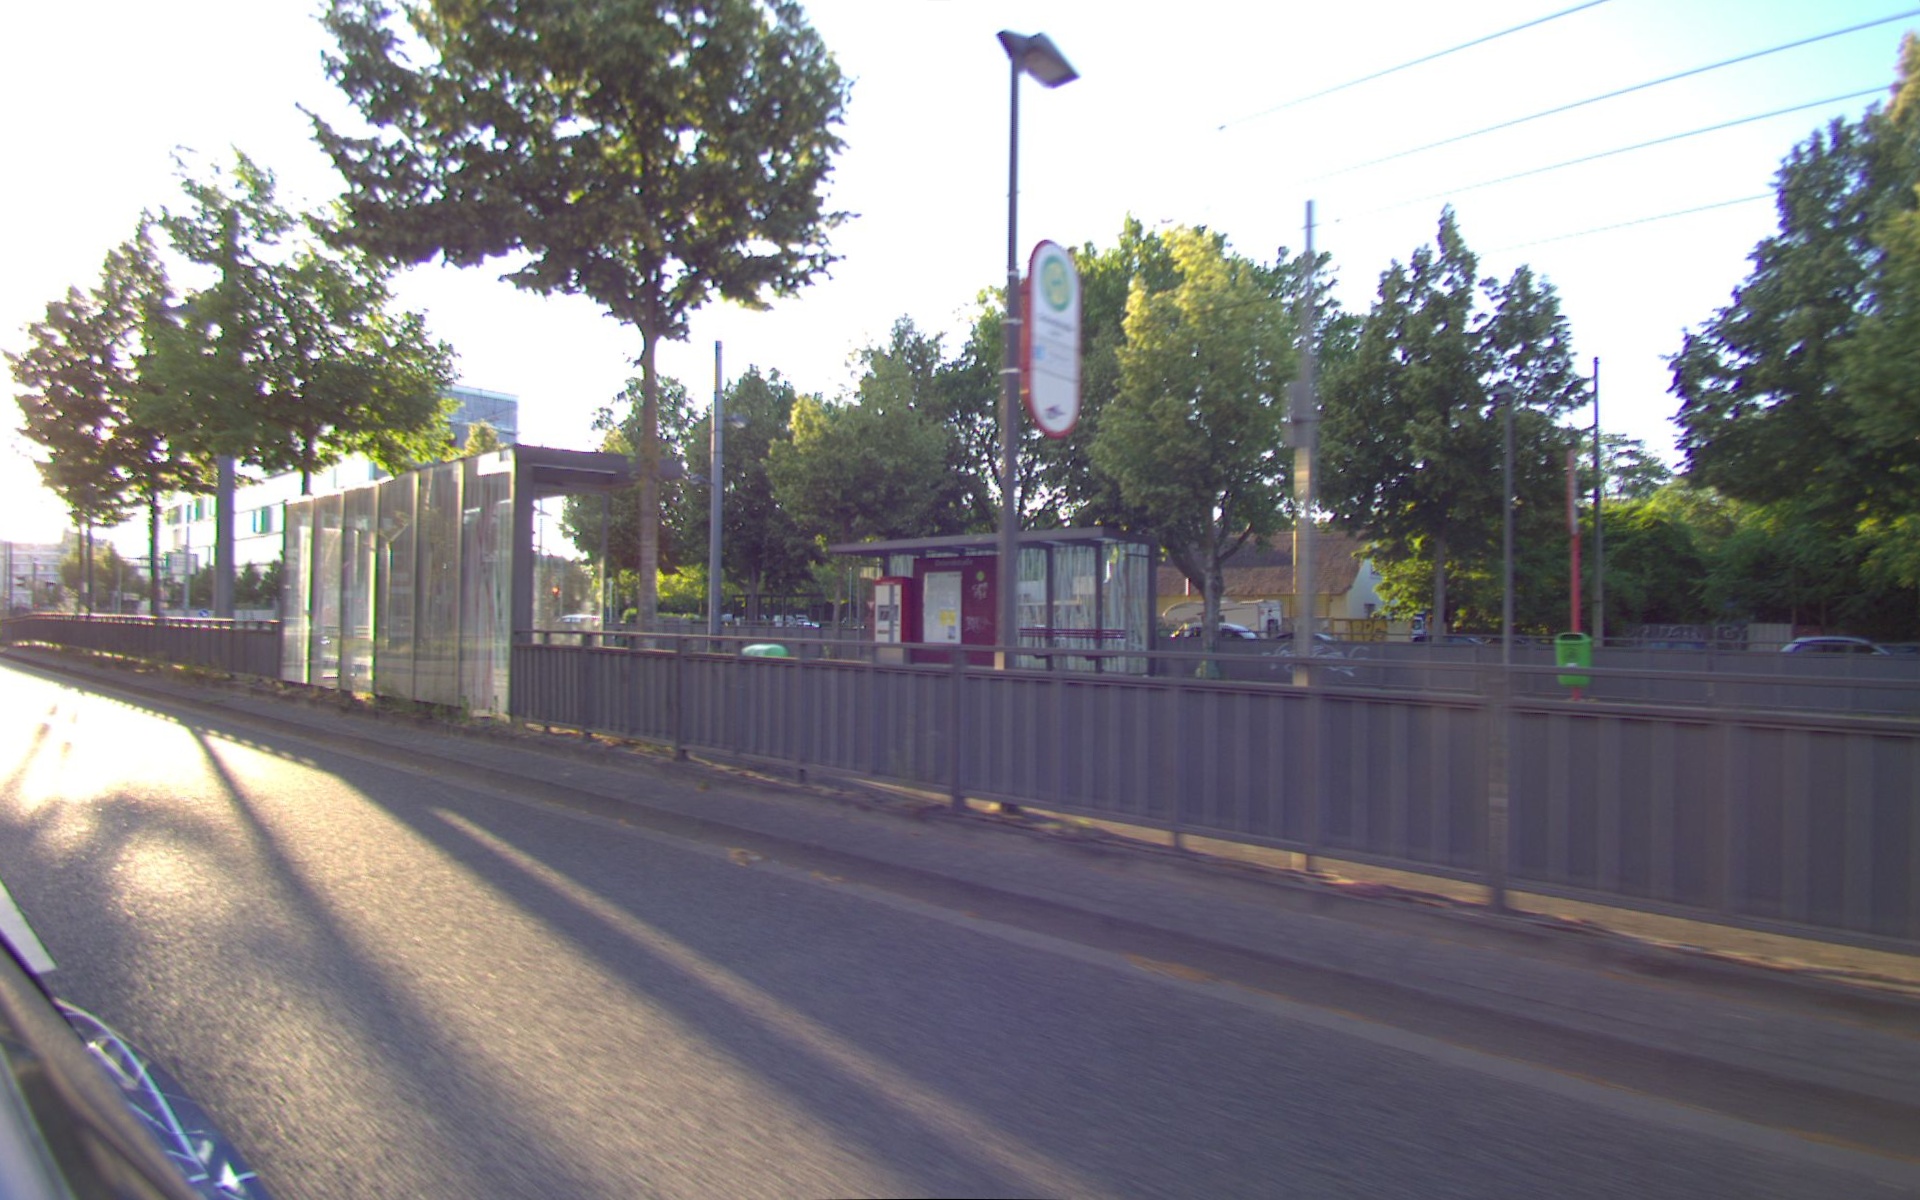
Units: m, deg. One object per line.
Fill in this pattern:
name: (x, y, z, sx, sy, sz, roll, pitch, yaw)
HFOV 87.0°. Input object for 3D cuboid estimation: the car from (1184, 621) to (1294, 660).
car: (11.619, 1.663, 42.280, 1.970, 1.541, 4.003, 2, -2, -44)

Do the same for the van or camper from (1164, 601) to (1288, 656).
van or camper: (13.177, 1.396, 50.399, 2.363, 2.583, 5.639, 2, -2, -43)

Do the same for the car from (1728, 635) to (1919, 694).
car: (23.338, 1.682, 27.269, 4.001, 1.418, 1.971, -1, -2, 44)

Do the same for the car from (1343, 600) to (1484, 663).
car: (15.516, 1.065, 34.714, 4.001, 2.029, 1.971, -1, -2, 44)

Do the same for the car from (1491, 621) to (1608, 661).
car: (23.298, 1.586, 40.051, 1.802, 1.512, 3.647, 1, -2, -43)

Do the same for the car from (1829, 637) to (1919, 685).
car: (30.412, 1.960, 32.568, 3.658, 1.459, 1.701, -1, -2, 42)

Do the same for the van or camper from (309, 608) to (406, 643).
van or camper: (-37.216, 1.529, 62.629, 2.000, 2.029, 4.820, -1, 0, 42)
